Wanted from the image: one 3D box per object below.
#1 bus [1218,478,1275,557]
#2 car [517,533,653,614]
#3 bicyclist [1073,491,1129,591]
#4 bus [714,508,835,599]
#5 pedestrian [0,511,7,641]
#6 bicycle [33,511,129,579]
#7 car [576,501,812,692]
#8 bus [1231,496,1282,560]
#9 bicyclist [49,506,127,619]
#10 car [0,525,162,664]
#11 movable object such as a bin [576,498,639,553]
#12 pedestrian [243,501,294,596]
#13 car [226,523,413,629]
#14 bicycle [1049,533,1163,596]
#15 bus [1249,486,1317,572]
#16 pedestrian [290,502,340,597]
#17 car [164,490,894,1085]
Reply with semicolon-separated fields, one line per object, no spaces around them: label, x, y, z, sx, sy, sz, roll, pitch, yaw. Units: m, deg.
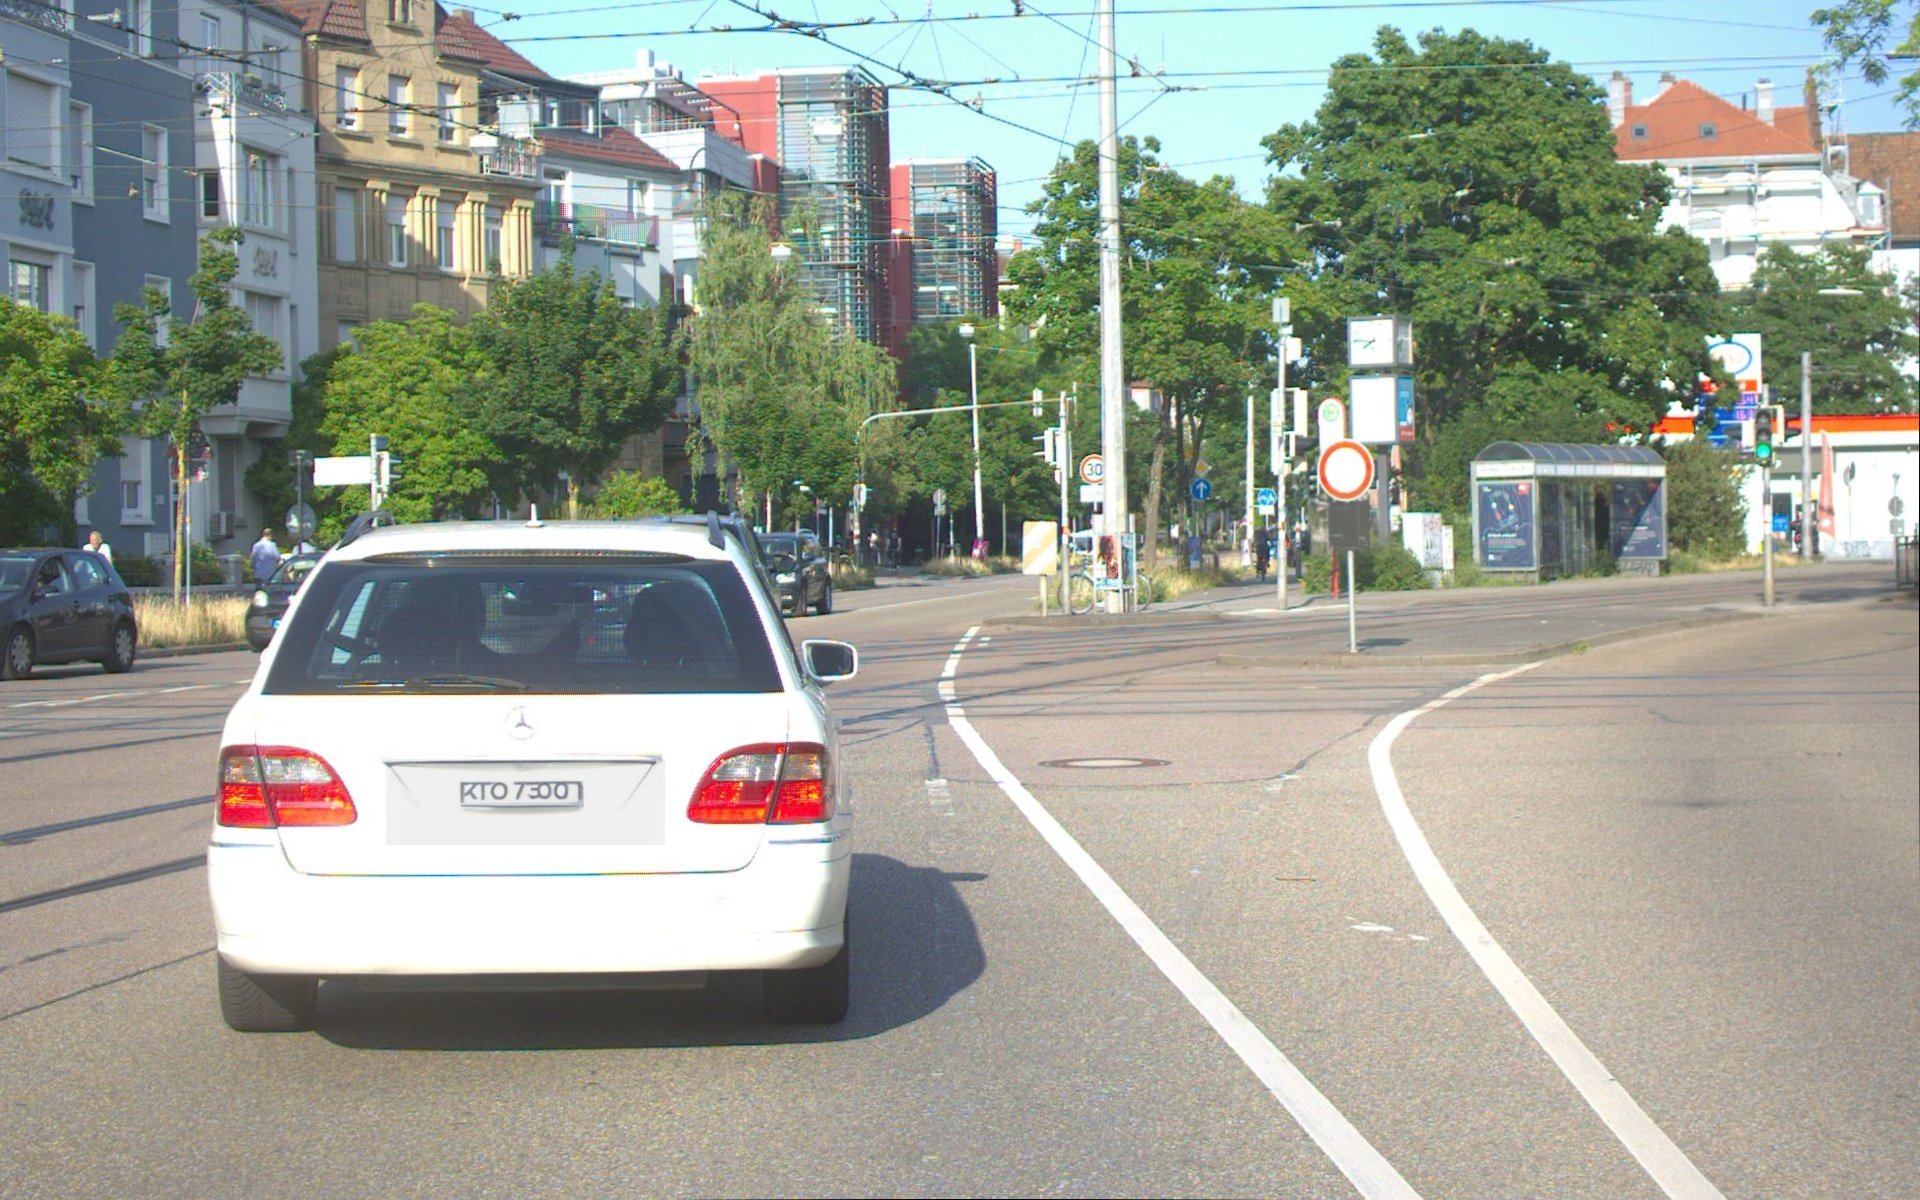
bus;9.565;-2.739;114.768;1.798;2.546;3.999;1;1;5
car;-6.902;-0.500;63.595;1.689;1.415;3.999;-1;1;6
bicyclist;2.458;-1.023;59.729;0.899;1.693;0.732;-2;1;3
bus;-3.491;-0.911;65.314;1.844;1.630;4.159;-1;1;3
pedestrian;-14.176;-0.333;49.589;0.584;1.874;0.626;-1;1;8
bicycle;-13.114;-0.830;51.358;0.769;0.962;2.034;-1;2;4
car;-2.317;-0.076;30.811;1.641;1.594;3.815;1;1;3
bus;11.241;-2.718;130.534;1.798;2.325;4.000;1;1;4
bicyclist;-13.061;-0.576;51.525;0.760;1.662;1.167;-1;1;4
car;-10.616;-0.087;38.267;1.768;1.428;3.998;-1;2;13
movable object such as a bin;-9.423;-1.984;91.875;1.602;1.416;1.085;-1;1;-4
pedestrian;-12.914;-0.964;64.202;0.638;1.745;0.911;-1;1;6
car;-9.271;-0.369;50.004;1.634;1.428;3.628;-1;2;7
bicycle;2.545;-0.618;59.739;1.914;0.991;0.727;-3;1;3
bus;9.290;-2.027;99.126;1.798;2.404;4.000;1;1;4
pedestrian;-11.992;-0.939;63.913;0.638;1.745;0.911;-1;1;6
car;-1.340;0.429;10.646;1.835;1.496;3.816;0;1;-8
